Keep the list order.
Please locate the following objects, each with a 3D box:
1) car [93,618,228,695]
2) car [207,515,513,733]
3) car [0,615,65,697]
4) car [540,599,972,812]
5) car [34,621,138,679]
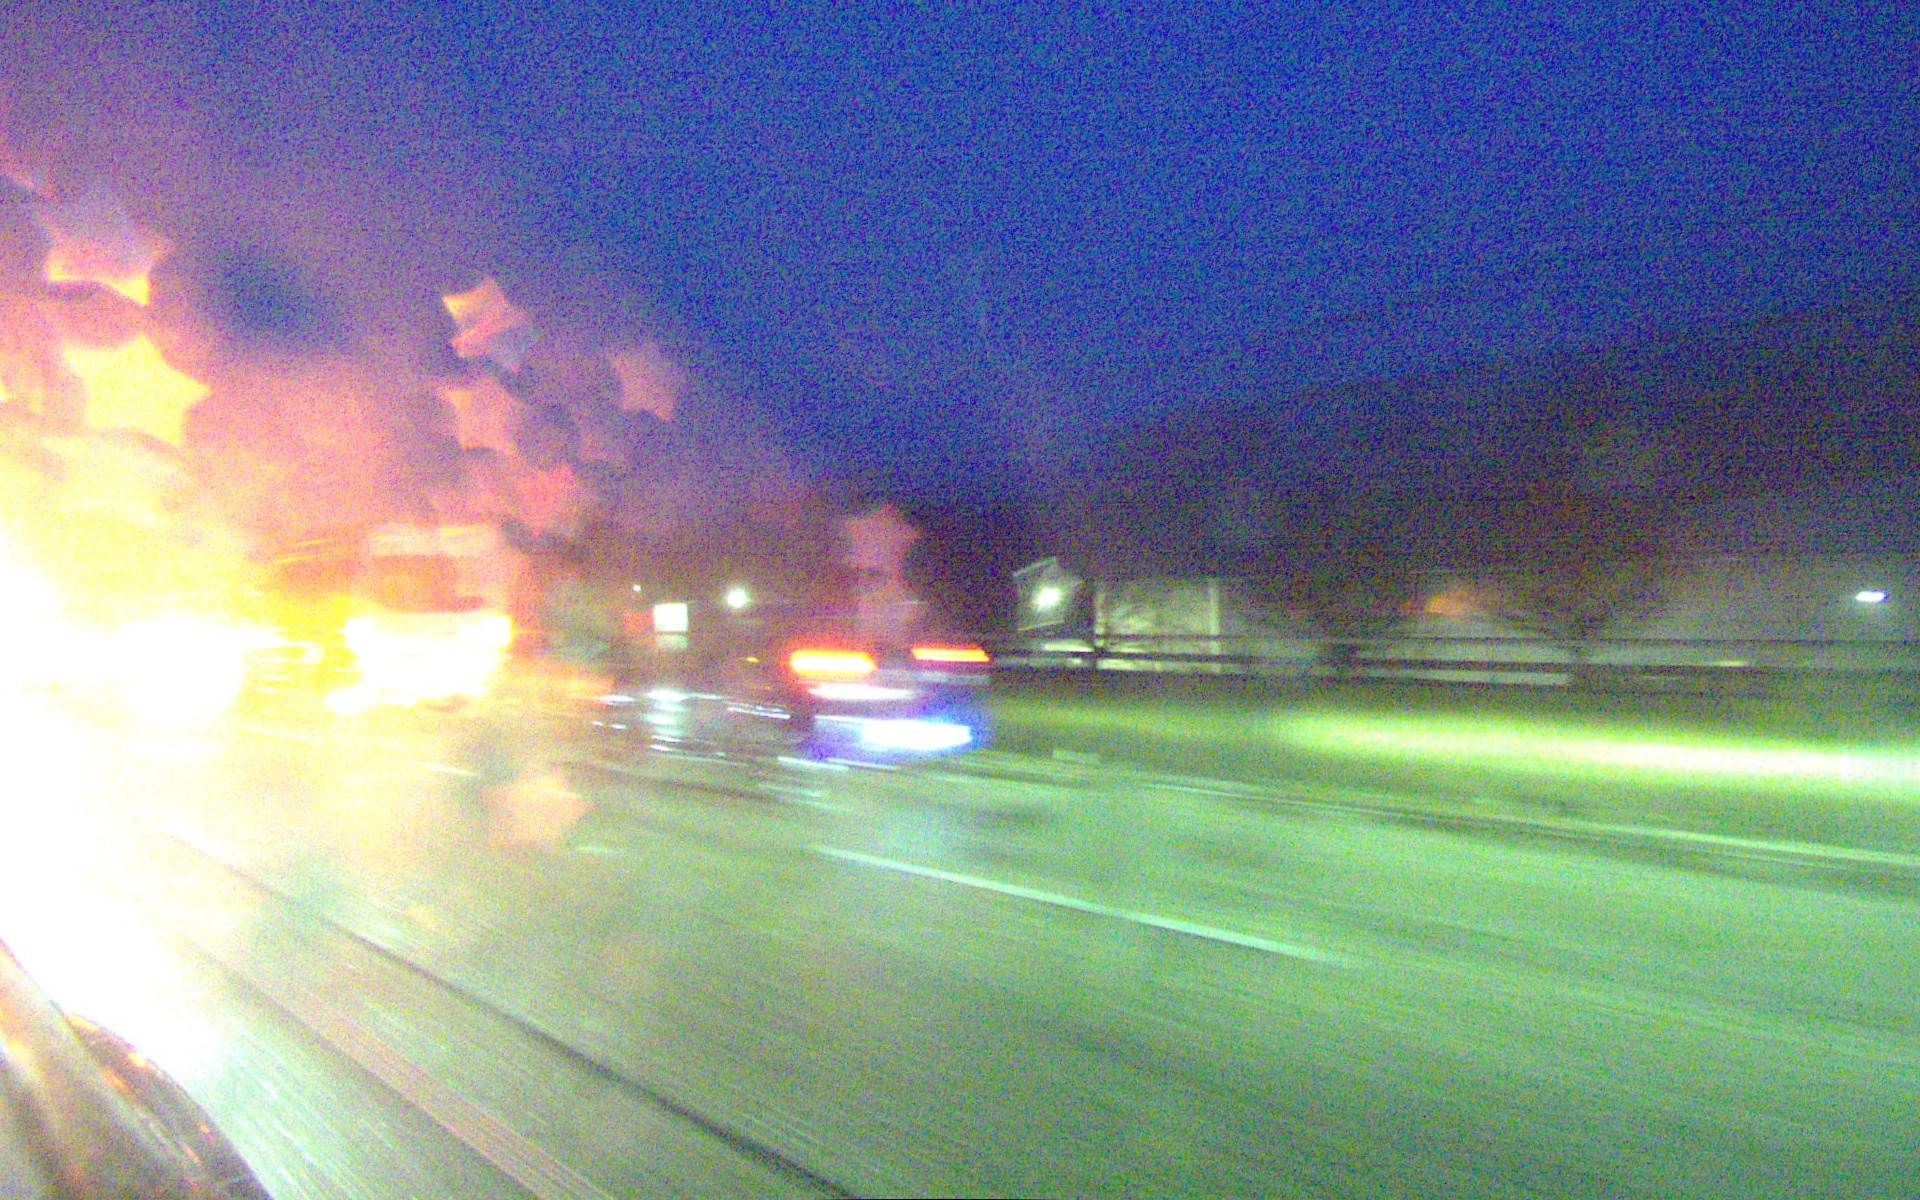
[{"bbox_3d":[-18.771,1.257,23.700,4.309,1.600,1.703,-1,0,41],"label":"car"},{"bbox_3d":[-9.382,0.346,15.513,6.236,2.728,2.101,-1,-1,40],"label":"car"},{"bbox_3d":[-21.251,1.199,22.102,4.409,1.642,1.788,-1,0,38],"label":"car"},{"bbox_3d":[-2.017,0.810,9.418,3.984,1.548,1.860,-1,0,40],"label":"car"},{"bbox_3d":[-24.927,1.380,28.821,3.825,1.519,1.702,-1,0,41],"label":"car"}]
